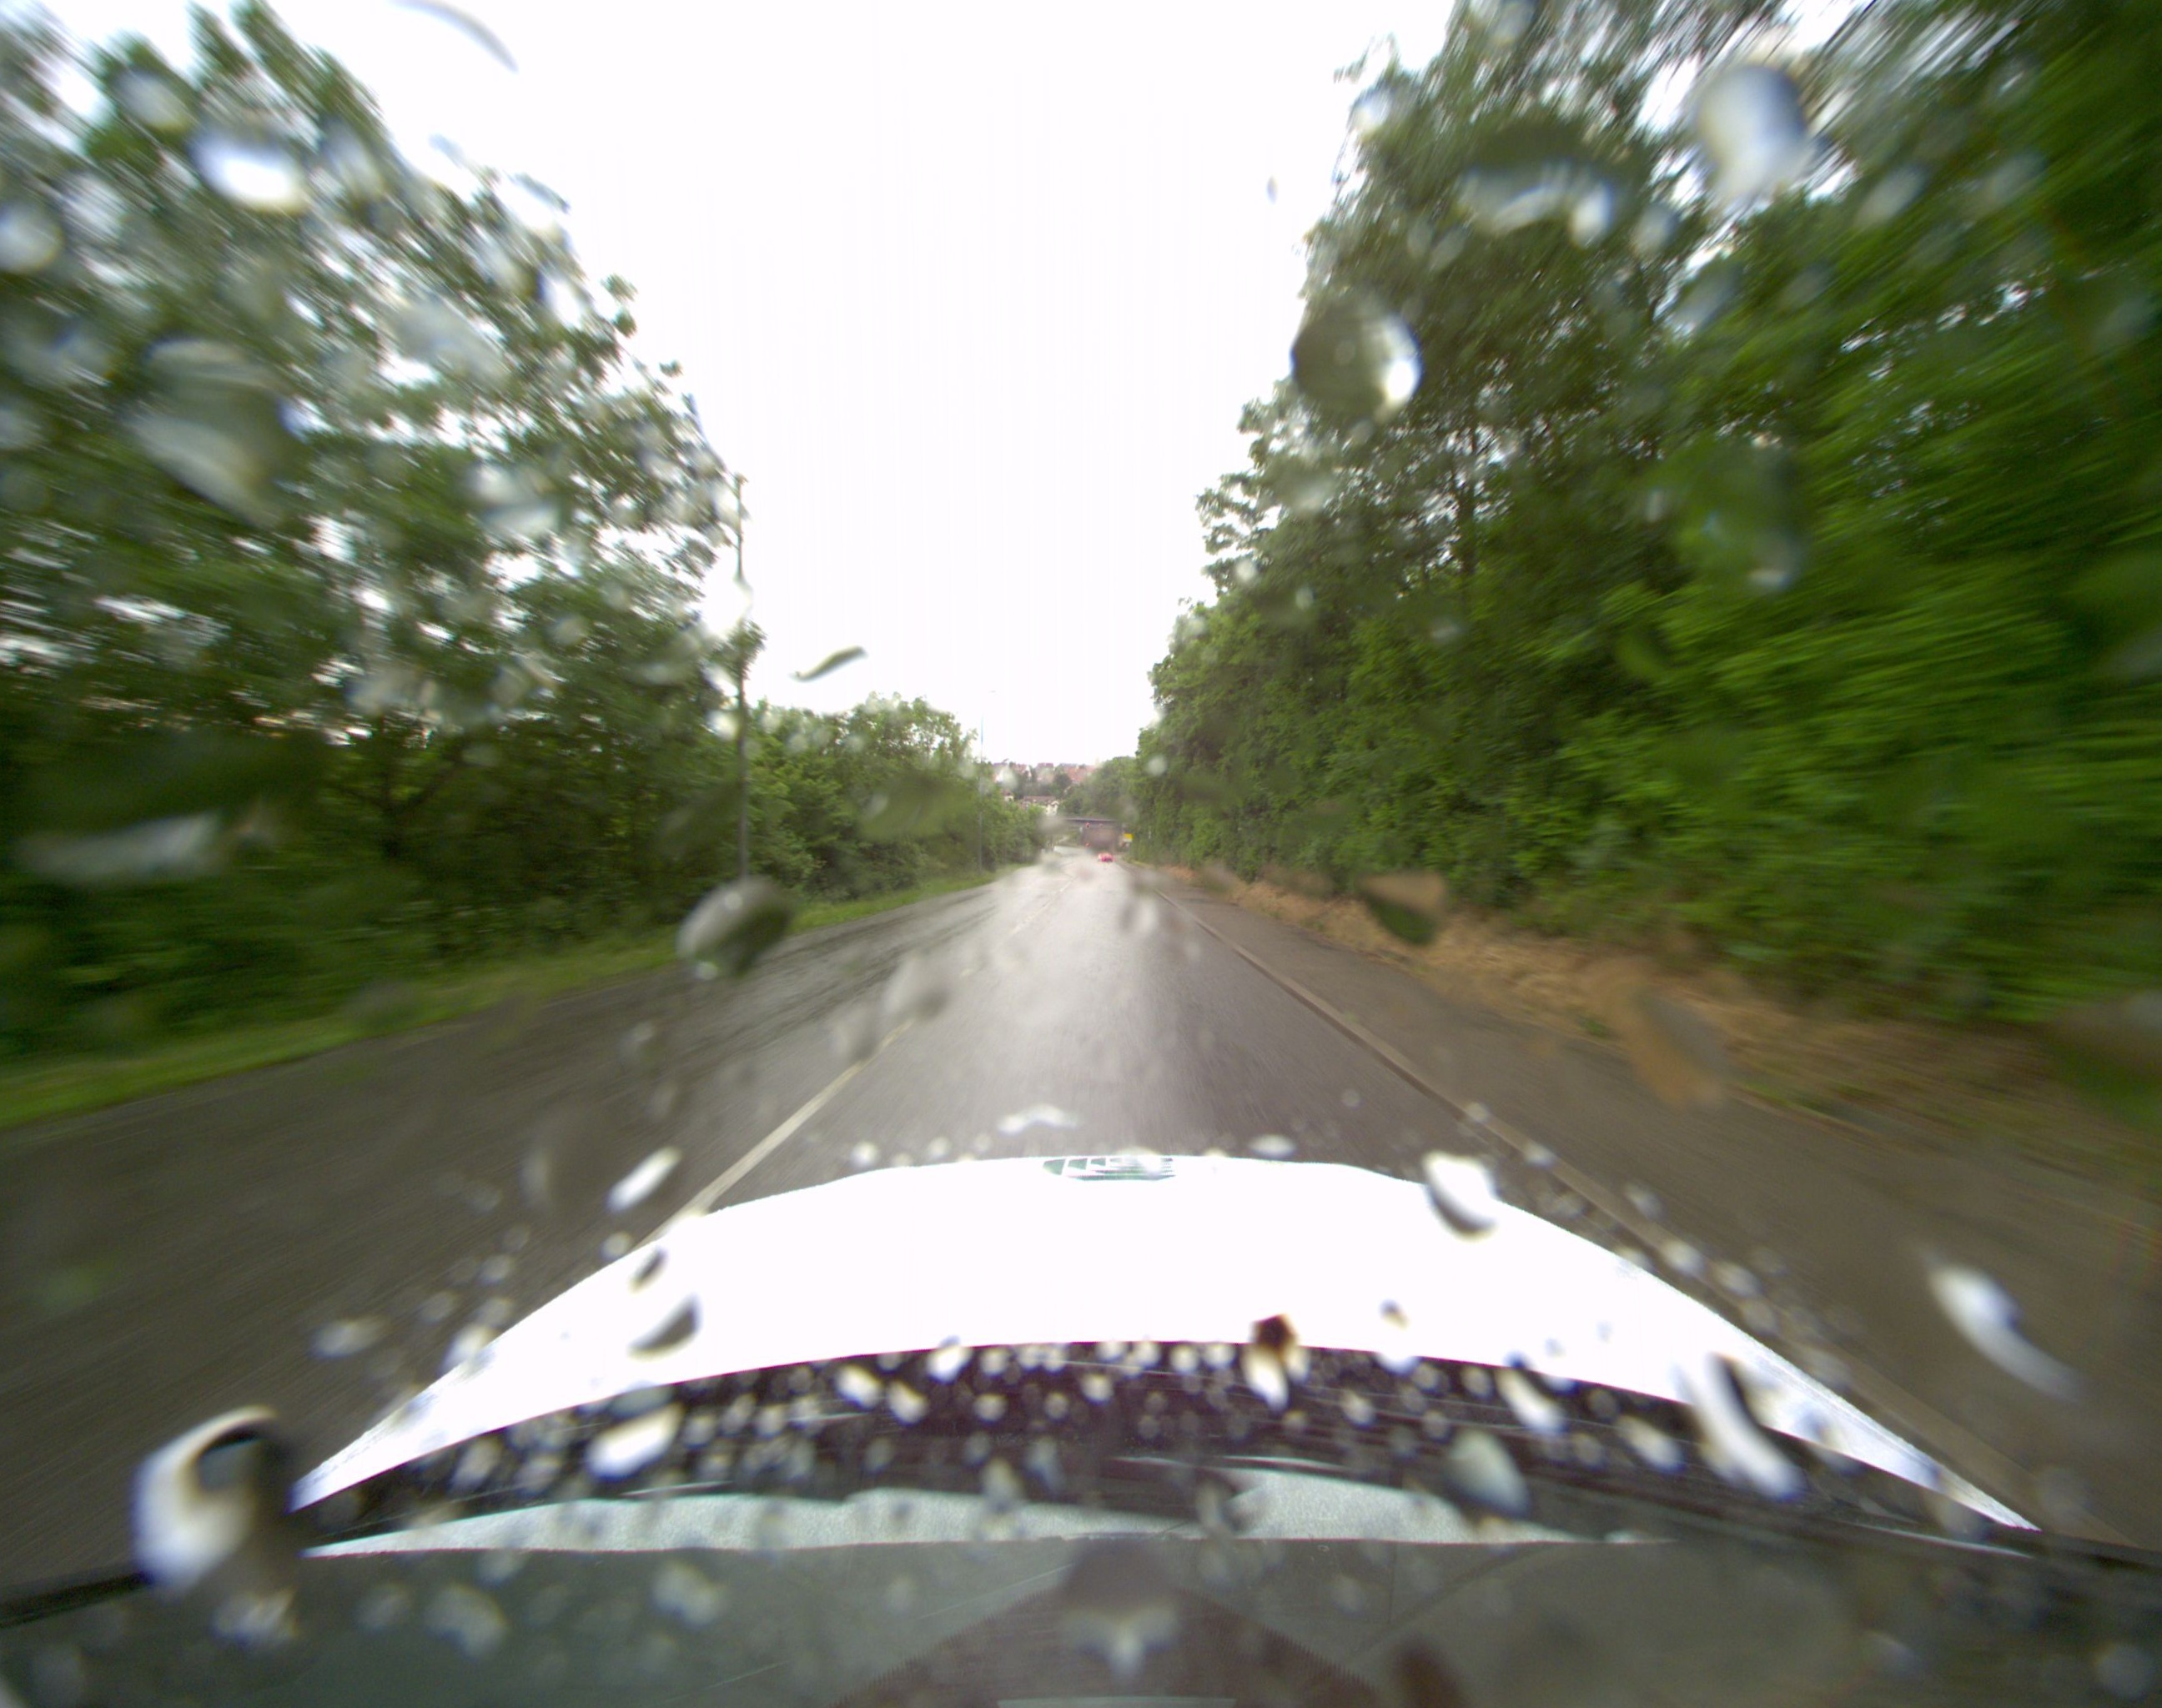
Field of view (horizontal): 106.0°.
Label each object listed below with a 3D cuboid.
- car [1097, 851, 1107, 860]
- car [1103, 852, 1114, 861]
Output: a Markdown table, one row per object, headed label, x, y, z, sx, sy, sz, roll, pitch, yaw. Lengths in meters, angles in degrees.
| label | x | y | z | sx | sy | sz | roll | pitch | yaw |
| --- | --- | --- | --- | --- | --- | --- | --- | --- | --- |
| car | 3.735 | 0.191 | 142.795 | 1.761 | 1.563 | 4.002 | 0 | 0 | 2 |
| car | 4.566 | 0.433 | 135.949 | 1.761 | 1.380 | 4.002 | 0 | 0 | 2 |
